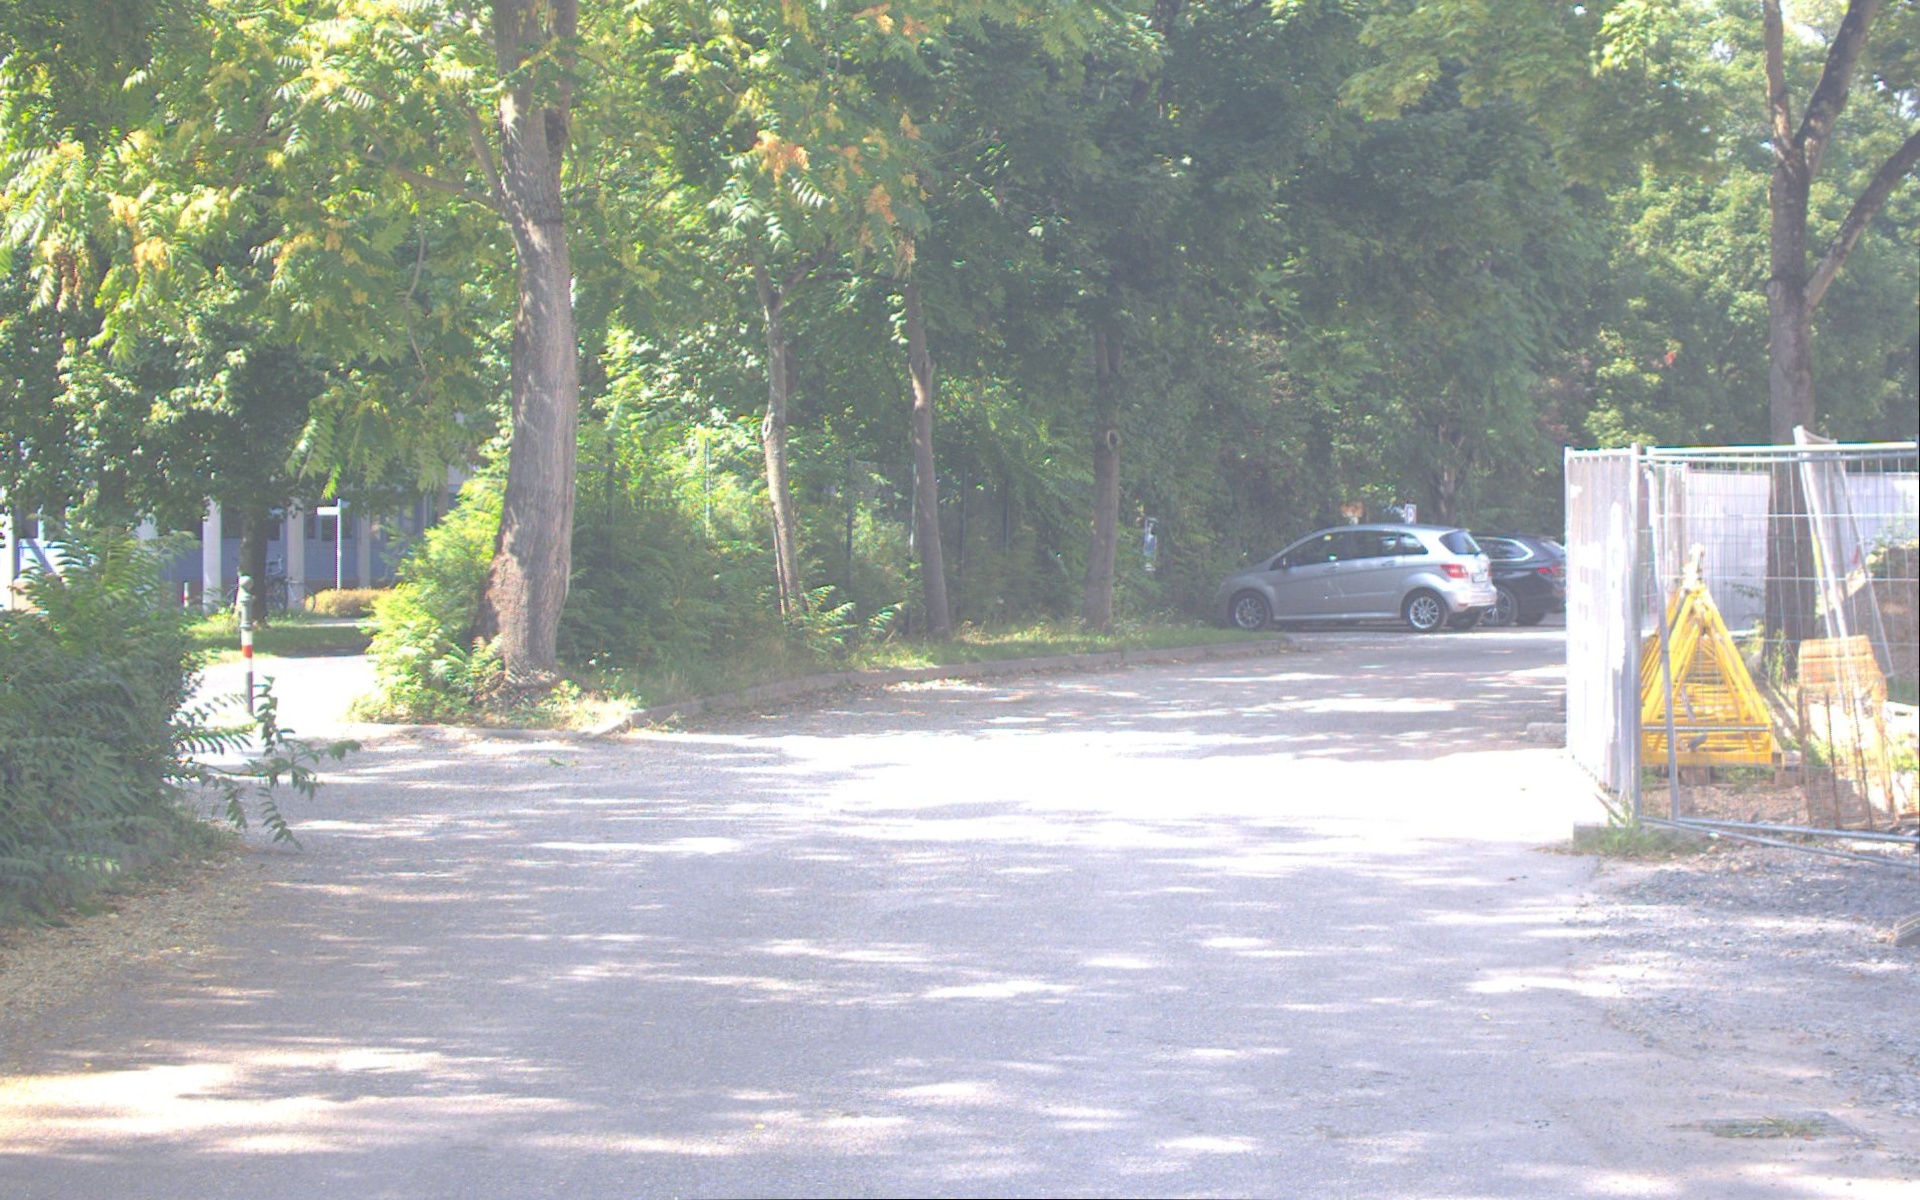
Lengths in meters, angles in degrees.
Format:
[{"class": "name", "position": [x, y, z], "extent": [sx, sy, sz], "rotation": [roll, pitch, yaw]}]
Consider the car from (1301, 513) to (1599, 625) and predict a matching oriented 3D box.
[{"class": "car", "position": [7.645, -0.510, 53.682], "extent": [4.154, 1.607, 1.997], "rotation": [2, 2, 27]}]

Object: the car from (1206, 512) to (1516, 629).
[{"class": "car", "position": [6.007, -0.471, 51.549], "extent": [4.154, 1.607, 1.997], "rotation": [2, 2, 27]}]

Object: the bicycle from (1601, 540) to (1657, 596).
[{"class": "bicycle", "position": [13.310, -0.645, 68.374], "extent": [0.499, 1.104, 1.797], "rotation": [2, 2, 31]}]

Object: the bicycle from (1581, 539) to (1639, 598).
[{"class": "bicycle", "position": [12.556, -0.610, 66.390], "extent": [0.499, 1.104, 1.797], "rotation": [2, 2, 31]}]
